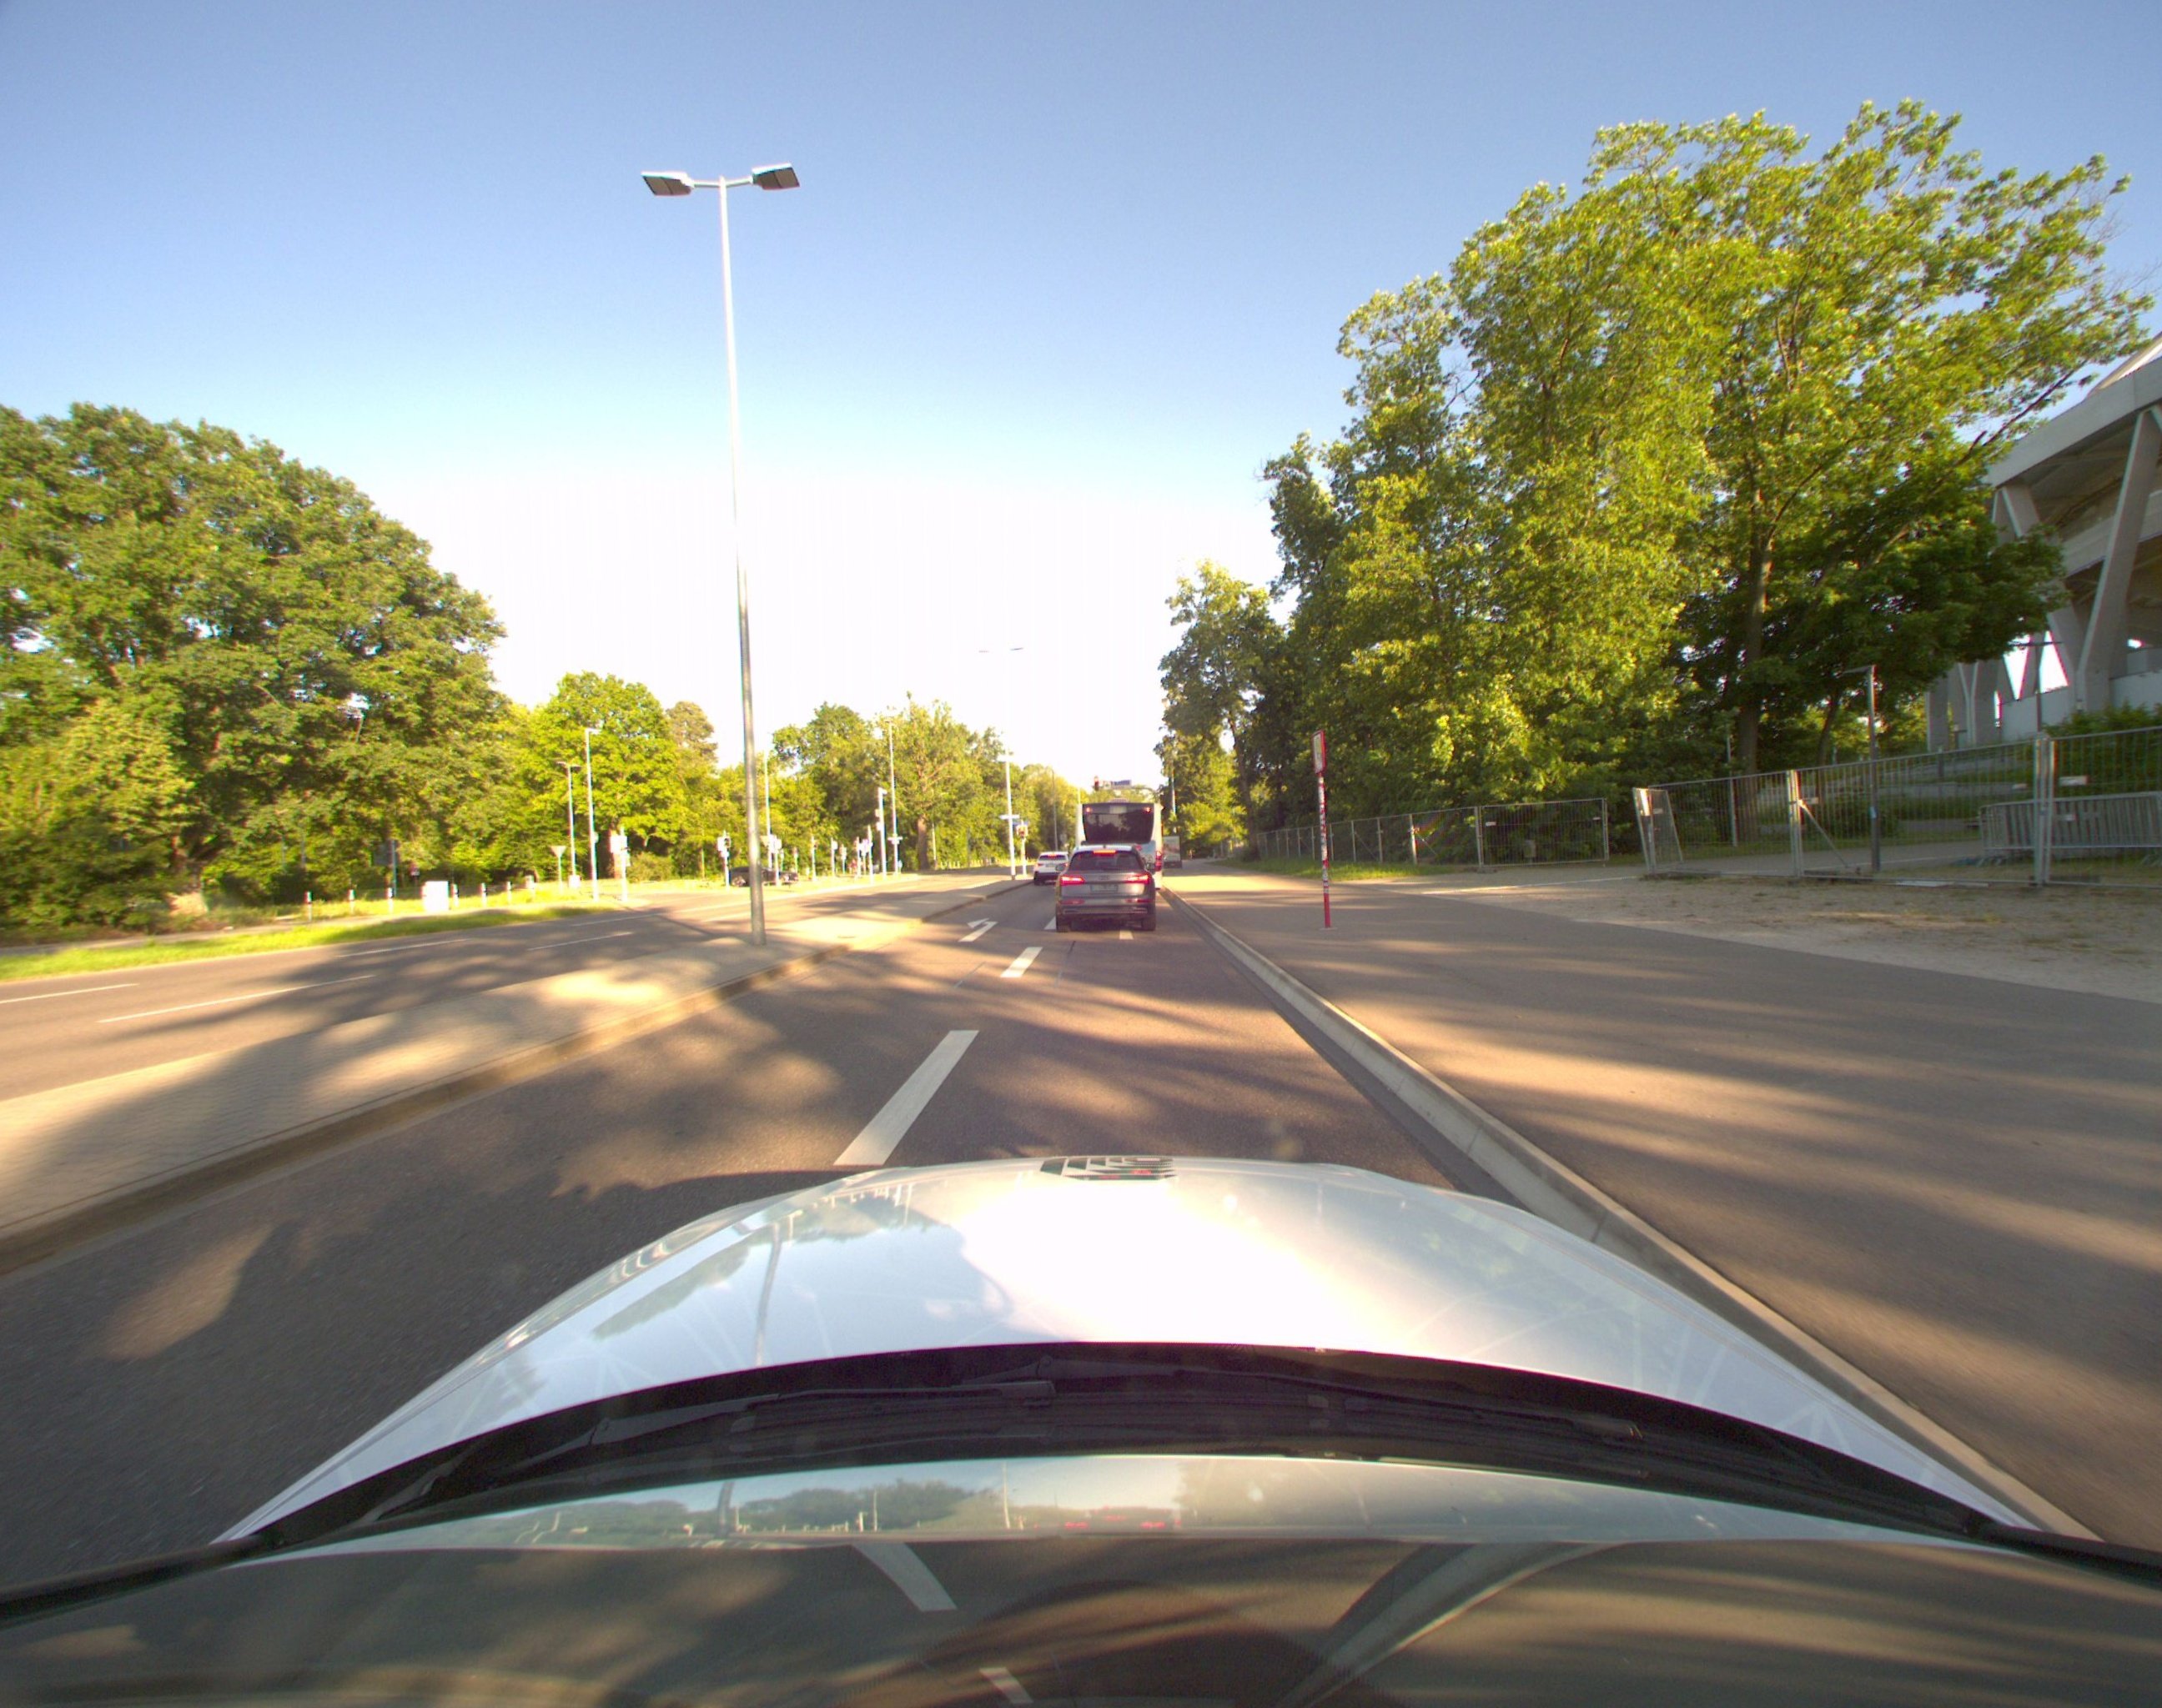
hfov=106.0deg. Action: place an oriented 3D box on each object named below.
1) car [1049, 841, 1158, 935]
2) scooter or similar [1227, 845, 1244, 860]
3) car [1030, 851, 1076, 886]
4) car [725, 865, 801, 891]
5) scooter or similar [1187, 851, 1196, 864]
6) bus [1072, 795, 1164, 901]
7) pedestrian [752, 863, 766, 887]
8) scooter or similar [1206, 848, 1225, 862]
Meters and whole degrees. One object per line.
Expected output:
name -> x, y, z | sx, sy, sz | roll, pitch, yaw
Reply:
car -> 0.487, 0.593, 16.418 | 1.891, 1.632, 4.003 | -1, 0, 2
scooter or similar -> 17.175, -0.122, 90.596 | 0.543, 1.567, 2.000 | -3, 0, -37
car -> -1.303, 0.649, 39.274 | 1.829, 1.518, 4.003 | -2, 0, 2
car -> -22.854, 1.708, 58.743 | 4.777, 1.498, 1.992 | -3, 0, -12
scooter or similar -> 12.486, 0.360, 92.011 | 0.506, 1.444, 2.020 | -3, 0, -3
bus -> 1.277, -0.138, 28.067 | 2.584, 2.989, 9.332 | -1, 0, 3
pedestrian -> -21.655, 1.423, 54.739 | 0.652, 1.560, 0.533 | -3, 0, -40
scooter or similar -> 14.796, 0.113, 89.393 | 2.024, 1.444, 0.601 | -3, 0, -22
